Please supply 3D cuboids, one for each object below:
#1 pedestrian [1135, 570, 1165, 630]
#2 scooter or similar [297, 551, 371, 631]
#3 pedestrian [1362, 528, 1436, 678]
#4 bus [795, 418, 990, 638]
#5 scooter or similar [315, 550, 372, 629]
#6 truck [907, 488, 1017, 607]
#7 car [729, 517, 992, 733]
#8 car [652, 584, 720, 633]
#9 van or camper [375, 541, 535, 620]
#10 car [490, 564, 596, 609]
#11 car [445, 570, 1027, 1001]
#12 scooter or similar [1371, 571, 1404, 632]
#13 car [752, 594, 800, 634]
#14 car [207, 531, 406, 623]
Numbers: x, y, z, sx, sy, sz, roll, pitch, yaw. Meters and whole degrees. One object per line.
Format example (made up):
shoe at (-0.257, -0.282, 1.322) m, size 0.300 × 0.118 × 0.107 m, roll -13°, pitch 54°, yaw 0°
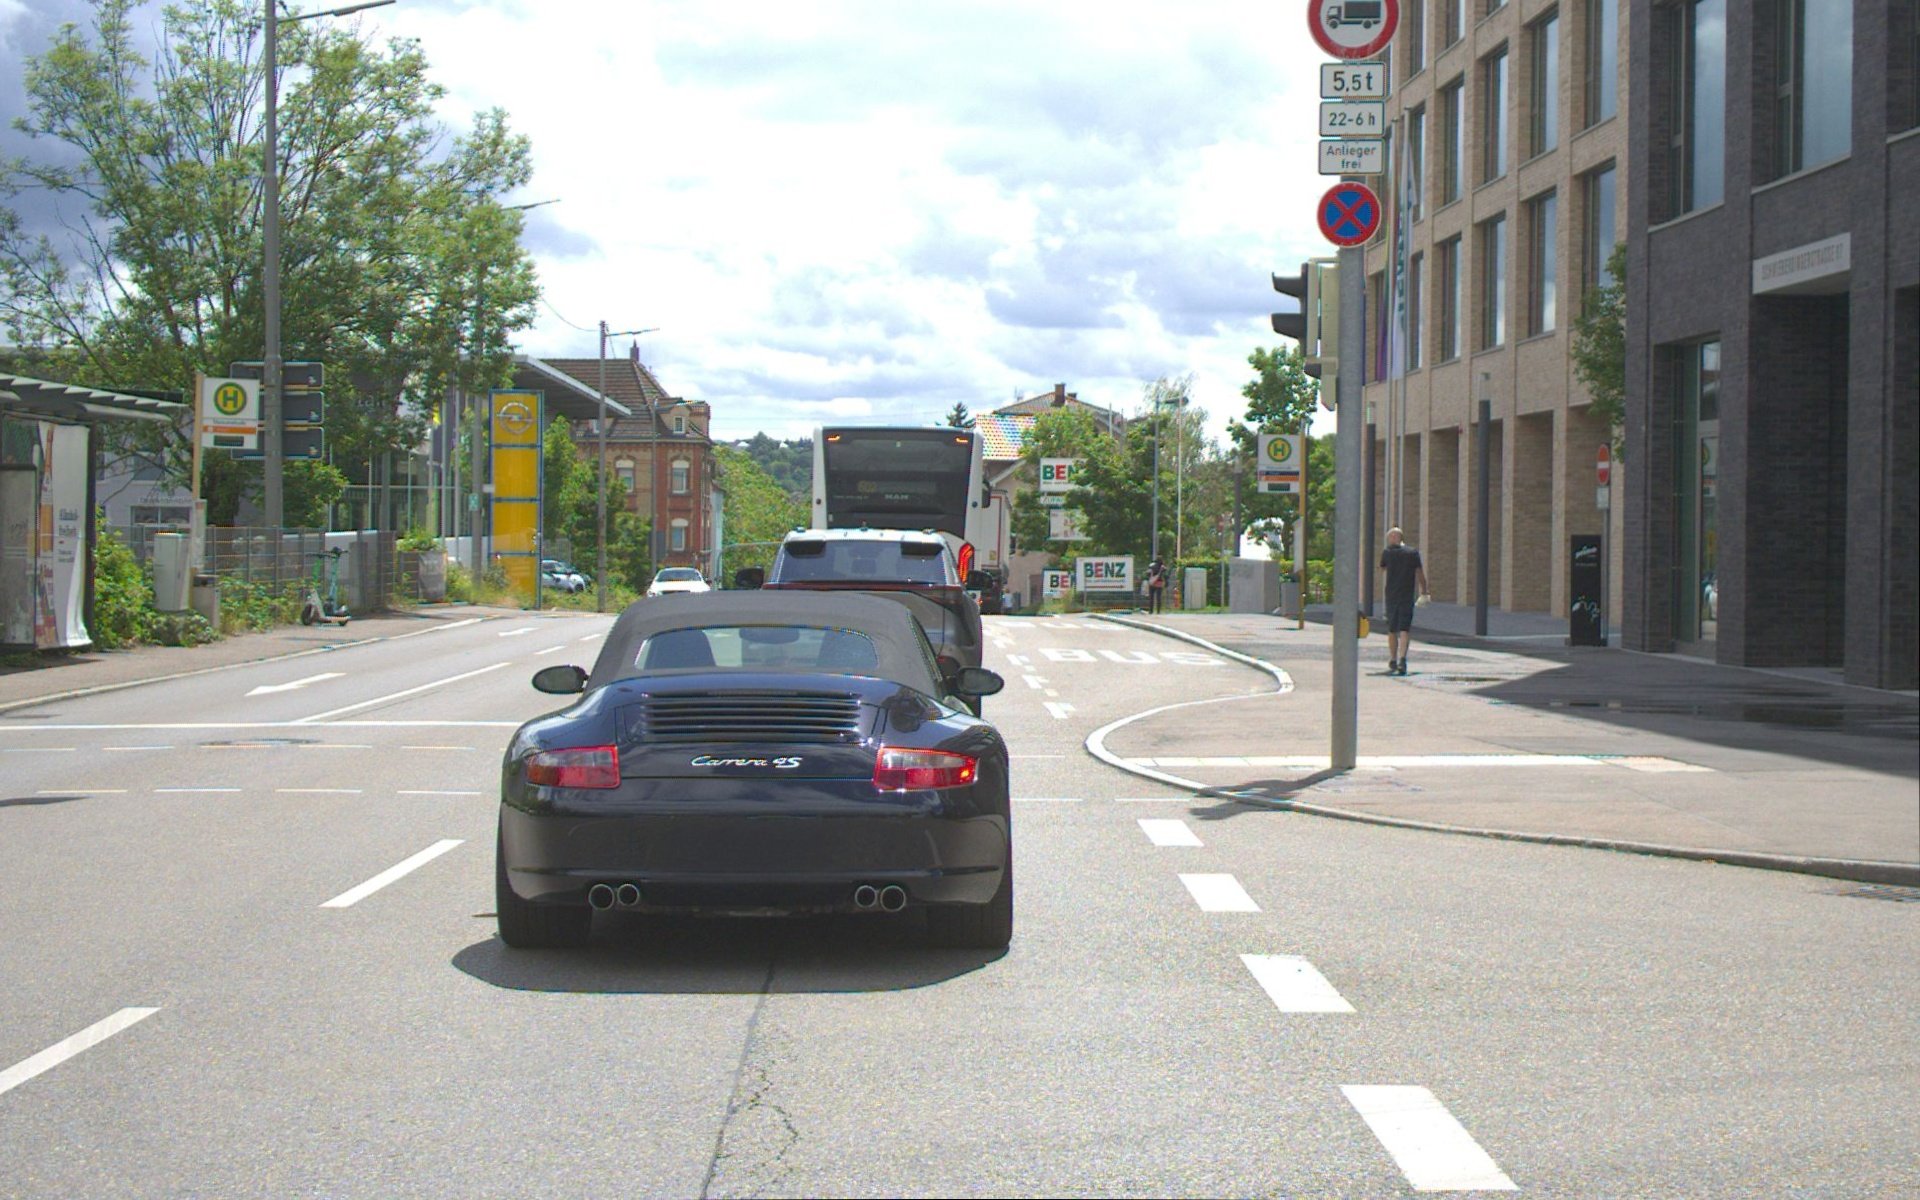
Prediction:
pedestrian at (4.887, 0.006, 88.553) m, size 0.687 × 1.531 × 0.856 m, roll 0°, pitch 0°, yaw -1°
scooter or similar at (-10.048, -0.147, 55.242) m, size 0.535 × 1.258 × 1.470 m, roll 2°, pitch 1°, yaw 16°
pedestrian at (5.142, 0.027, 40.312) m, size 0.683 × 1.722 × 0.962 m, roll 1°, pitch 1°, yaw -1°
bus at (-0.966, -1.169, 56.520) m, size 2.802 × 3.187 × 12.196 m, roll 1°, pitch 1°, yaw 0°
scooter or similar at (-10.169, -0.176, 56.739) m, size 0.535 × 1.262 × 1.471 m, roll 2°, pitch 1°, yaw 4°
truck at (-0.013, -1.393, 91.373) m, size 2.713 × 3.044 × 7.714 m, roll 0°, pitch 1°, yaw -2°
car at (-0.857, 0.153, 27.638) m, size 1.930 × 1.577 × 4.208 m, roll 1°, pitch 1°, yaw -3°
car at (-8.218, 0.234, 103.372) m, size 1.796 × 1.372 × 4.225 m, roll -1°, pitch 1°, yaw -1°
van or camper at (-16.834, -0.676, 114.816) m, size 5.026 × 2.522 × 2.318 m, roll 1°, pitch 1°, yaw -2°
car at (-15.563, -0.495, 128.575) m, size 1.933 × 1.567 × 4.548 m, roll 0°, pitch -1°, yaw 22°
car at (-0.759, 0.604, 13.618) m, size 1.930 × 1.372 × 4.208 m, roll 1°, pitch 1°, yaw 0°
scooter or similar at (8.157, 0.025, 65.646) m, size 0.427 × 1.149 × 1.404 m, roll 0°, pitch 0°, yaw -2°
car at (-7.213, 0.562, 134.853) m, size 1.829 × 1.504 × 4.277 m, roll 0°, pitch -1°, yaw -3°
car at (-14.802, -0.539, 78.055) m, size 4.160 × 2.007 × 2.199 m, roll 1°, pitch 1°, yaw -3°
